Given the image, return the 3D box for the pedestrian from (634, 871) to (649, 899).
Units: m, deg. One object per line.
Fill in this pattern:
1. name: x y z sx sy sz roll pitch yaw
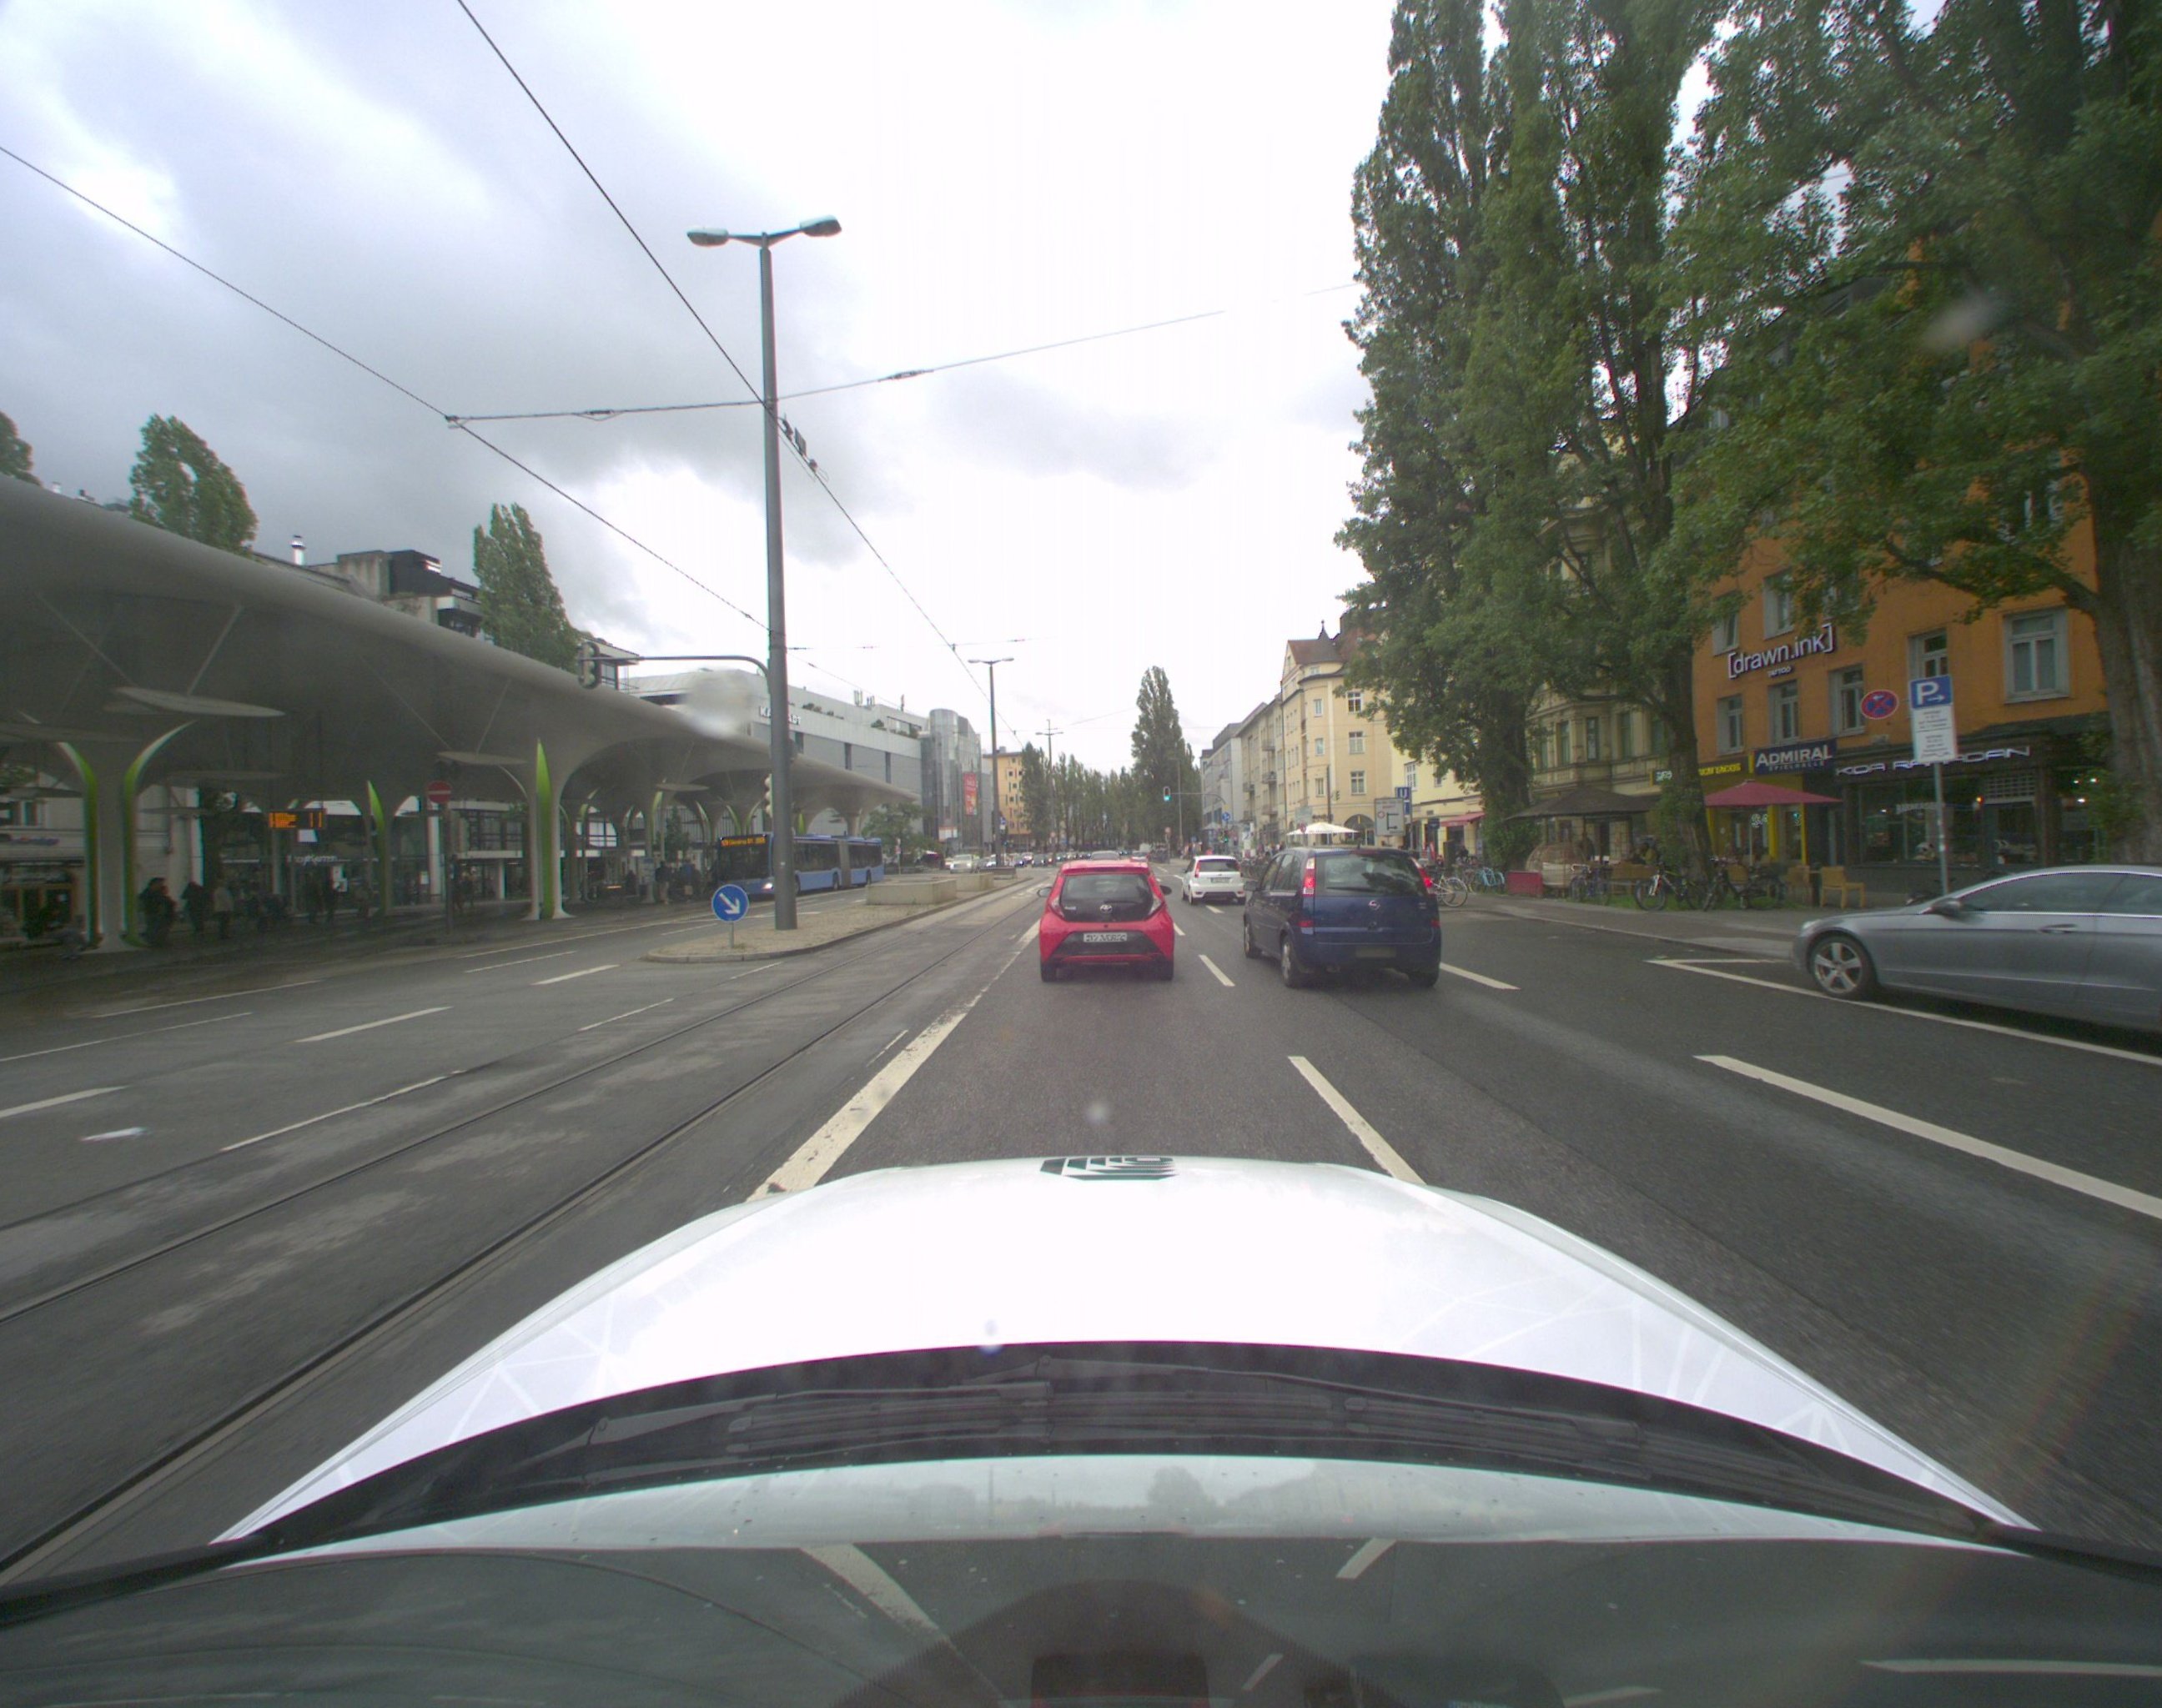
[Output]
1. pedestrian: -26.314 1.859 48.757 0.572 1.610 0.546 -2 0 -8

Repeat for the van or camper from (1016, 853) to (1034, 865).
1. van or camper: -8.682 0.725 126.369 1.920 1.826 5.445 -2 0 3

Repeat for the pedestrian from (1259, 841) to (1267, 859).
1. pedestrian: 17.779 -0.372 79.522 0.560 1.670 0.565 -2 3 24

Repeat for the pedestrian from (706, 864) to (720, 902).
1. pedestrian: -16.112 1.268 35.649 0.391 1.605 0.390 -2 0 -3

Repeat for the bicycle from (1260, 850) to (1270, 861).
1. bicycle: 18.433 0.131 81.764 0.493 1.059 1.865 -2 0 -2

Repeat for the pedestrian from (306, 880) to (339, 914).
1. pedestrian: -41.517 2.358 44.579 0.921 1.773 1.004 -2 0 21

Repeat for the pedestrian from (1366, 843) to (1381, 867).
1. pedestrian: 18.142 0.051 50.446 0.673 1.422 0.617 -2 0 2

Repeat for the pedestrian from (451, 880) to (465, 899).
1. pedestrian: -44.617 2.530 58.310 0.507 1.333 0.580 -2 0 20

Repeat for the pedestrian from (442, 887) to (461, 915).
1. pedestrian: -29.200 2.179 37.783 0.513 1.265 0.578 -2 0 44

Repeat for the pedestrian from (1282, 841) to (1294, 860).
1. pedestrian: 20.118 -0.328 79.119 0.930 1.755 1.066 -2 0 2

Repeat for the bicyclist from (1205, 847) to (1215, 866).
1. bicyclist: 11.147 0.213 70.298 0.611 1.657 1.252 -2 0 3

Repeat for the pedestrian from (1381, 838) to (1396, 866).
1. pedestrian: 18.744 -0.130 49.693 0.612 1.632 0.678 -2 0 2

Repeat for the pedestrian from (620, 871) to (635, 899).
1. pedestrian: -27.168 1.858 48.828 0.572 1.610 0.546 -2 0 -8

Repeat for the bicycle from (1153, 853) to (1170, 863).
1. bicycle: 9.376 0.491 94.890 1.782 1.158 0.490 -2 0 28

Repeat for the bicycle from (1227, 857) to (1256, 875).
1. bicycle: 9.913 0.750 50.373 0.350 0.996 1.819 -2 -1 -44

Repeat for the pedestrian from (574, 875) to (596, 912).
1. pedestrian: -28.145 2.236 46.223 0.912 2.013 0.665 -2 0 -44

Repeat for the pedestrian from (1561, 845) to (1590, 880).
1. pedestrian: 17.591 0.301 28.982 0.598 1.222 0.666 -2 0 2

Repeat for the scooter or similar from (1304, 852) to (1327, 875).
1. scooter or similar: 11.653 0.475 40.451 0.773 1.075 1.256 -2 0 0

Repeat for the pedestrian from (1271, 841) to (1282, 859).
1. pedestrian: 19.092 -0.436 79.442 0.648 1.705 0.727 -4 3 -27

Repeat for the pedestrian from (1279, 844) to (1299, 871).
1. pedestrian: 13.597 0.224 53.279 0.882 1.743 0.854 -2 0 -15

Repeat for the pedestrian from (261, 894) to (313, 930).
1. pedestrian: -27.356 1.992 28.071 0.908 1.155 0.878 0 0 2

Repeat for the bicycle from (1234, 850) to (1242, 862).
1. bicycle: 15.762 0.197 81.785 0.564 1.107 1.867 -2 0 2

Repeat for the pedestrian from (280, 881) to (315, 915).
1. pedestrian: -41.921 2.358 43.567 0.921 1.773 1.004 -2 0 21

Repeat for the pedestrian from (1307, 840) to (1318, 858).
1. pedestrian: 21.943 -0.461 77.107 0.750 1.684 0.675 -5 4 -36

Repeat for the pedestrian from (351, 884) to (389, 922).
1. pedestrian: -29.311 2.010 33.597 0.742 1.508 0.895 -2 0 -5

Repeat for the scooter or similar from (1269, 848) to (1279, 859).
1. scooter or similar: 18.617 -0.016 78.620 0.817 0.994 0.593 -3 3 0

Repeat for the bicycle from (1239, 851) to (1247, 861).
1. bicycle: 16.260 0.198 81.754 0.492 0.975 1.867 -2 0 2

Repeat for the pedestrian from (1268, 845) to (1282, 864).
1. pedestrian: 15.599 0.053 65.628 0.730 1.540 0.887 -2 0 -13

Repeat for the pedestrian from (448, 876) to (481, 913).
1. pedestrian: -30.419 1.991 40.177 0.866 1.730 0.897 -2 0 5

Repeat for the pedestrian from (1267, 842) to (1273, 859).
1. pedestrian: 18.472 -0.374 79.627 0.556 1.609 0.570 -2 3 15

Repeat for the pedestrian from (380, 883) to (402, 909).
1. pedestrian: -45.491 2.746 53.708 0.775 1.661 0.777 -2 0 11

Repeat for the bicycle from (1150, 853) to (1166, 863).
1. bicycle: 9.245 0.516 97.589 1.781 1.158 0.656 -2 0 38

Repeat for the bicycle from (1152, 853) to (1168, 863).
1. bicycle: 9.300 0.508 96.209 1.781 1.158 0.490 -2 0 32

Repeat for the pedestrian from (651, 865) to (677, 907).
1. pedestrian: -17.359 1.321 33.916 0.714 1.721 0.878 -2 0 -11

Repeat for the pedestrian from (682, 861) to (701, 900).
1. pedestrian: -17.415 1.175 36.422 0.503 1.734 0.572 -2 0 -3

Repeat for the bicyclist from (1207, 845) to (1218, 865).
1. bicyclist: 12.097 0.084 75.033 0.759 1.869 1.133 -2 0 3

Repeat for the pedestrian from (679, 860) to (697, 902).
1. pedestrian: -16.746 1.153 34.680 0.567 1.743 0.751 -2 0 -21

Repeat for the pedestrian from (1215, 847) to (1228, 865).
1. pedestrian: 13.647 0.169 79.111 0.826 1.691 0.825 -2 0 39

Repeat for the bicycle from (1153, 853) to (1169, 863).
1. bicycle: 9.241 0.493 94.083 1.782 1.158 0.551 -2 0 40

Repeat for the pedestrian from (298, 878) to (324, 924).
1. pedestrian: -29.515 1.779 31.211 0.691 1.696 0.652 -2 0 42
